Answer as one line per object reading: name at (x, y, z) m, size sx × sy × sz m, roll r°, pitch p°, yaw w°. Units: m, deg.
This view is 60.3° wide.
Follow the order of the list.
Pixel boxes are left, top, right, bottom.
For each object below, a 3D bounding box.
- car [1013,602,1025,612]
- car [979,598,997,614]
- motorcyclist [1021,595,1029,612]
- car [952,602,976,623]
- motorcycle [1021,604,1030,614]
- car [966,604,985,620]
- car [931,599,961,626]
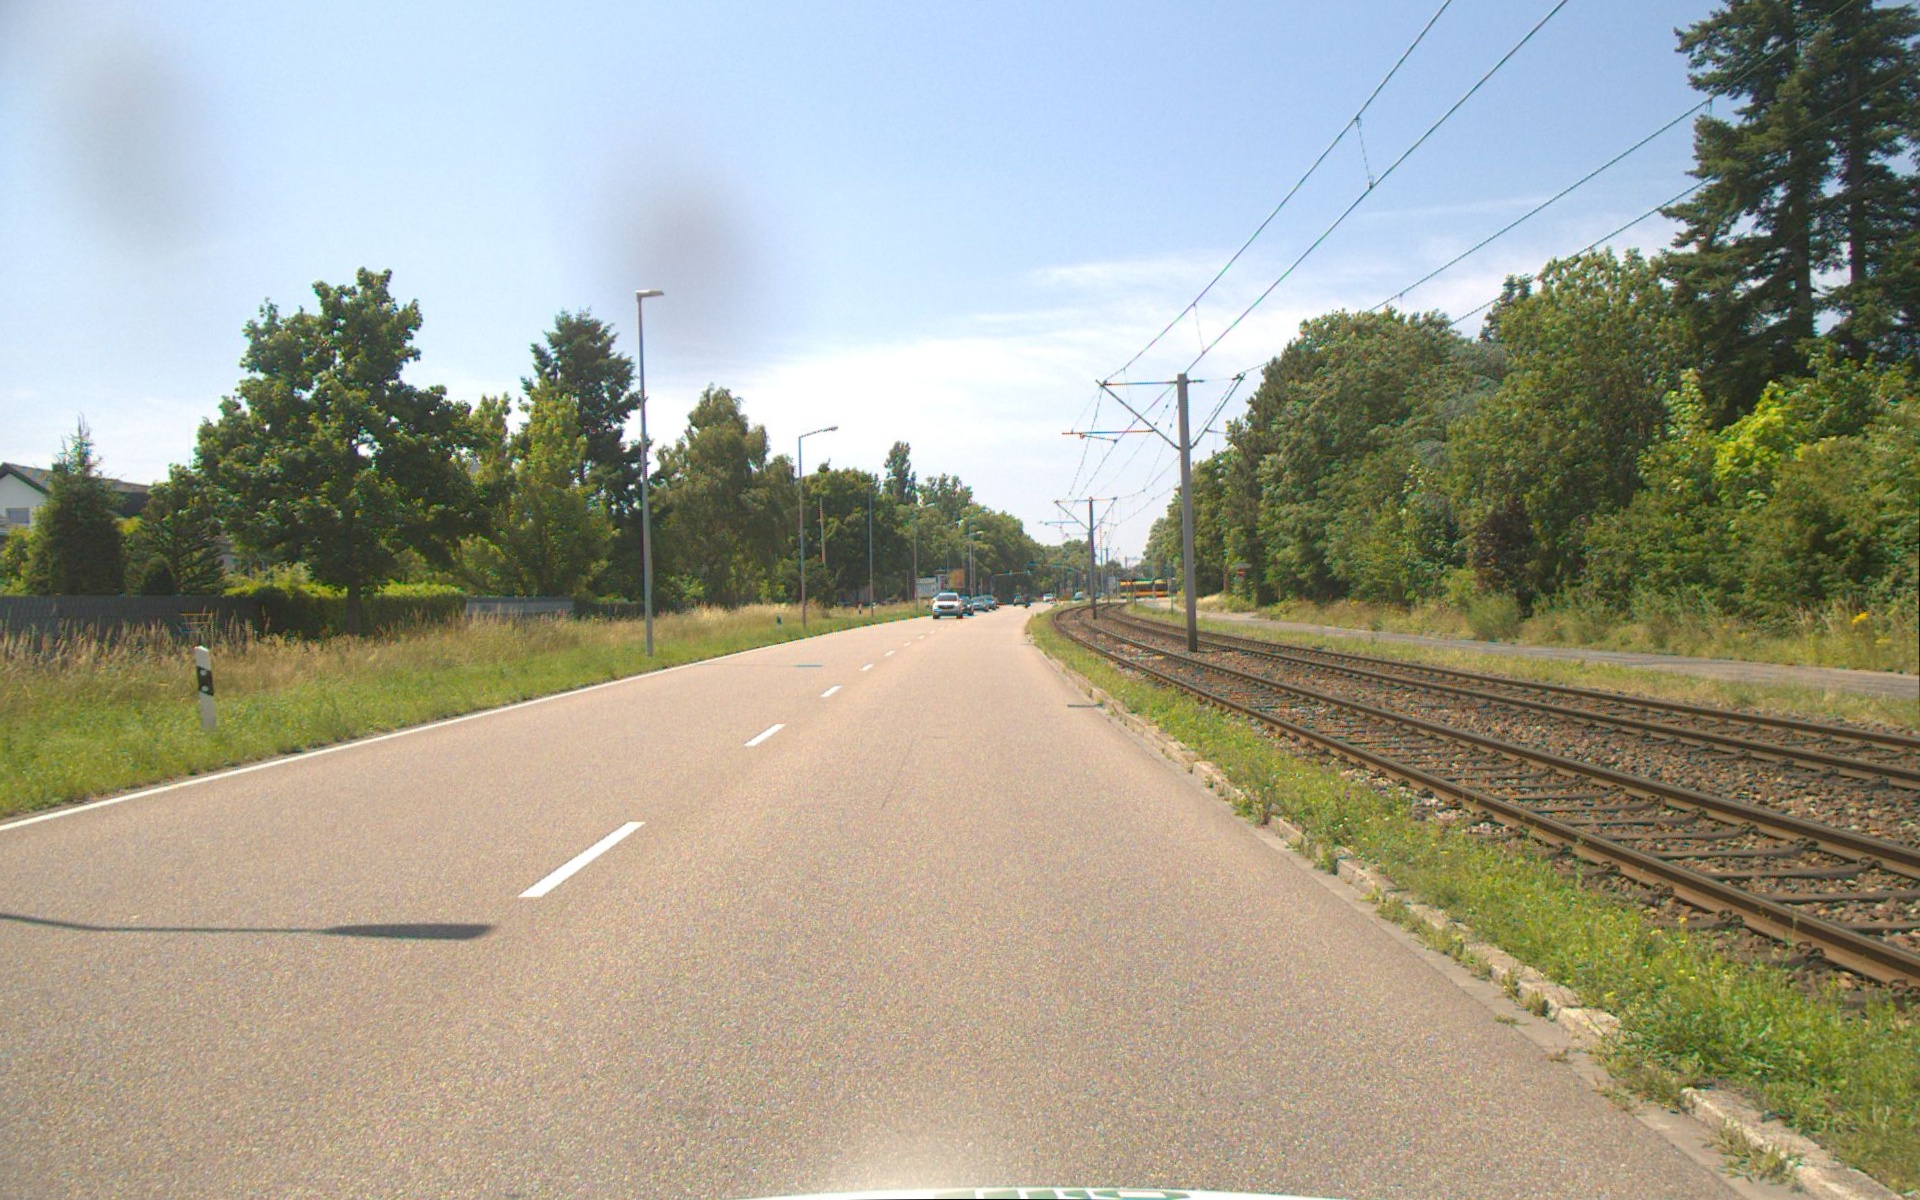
car at (9.135, 1.092, 256.340) m, size 1.593 × 1.419 × 4.366 m, roll -1°, pitch -1°, yaw 5°
car at (2.993, 0.651, 175.201) m, size 1.780 × 1.565 × 4.364 m, roll -1°, pitch -1°, yaw 2°
motorcyclist at (7.425, 0.398, 188.971) m, size 0.873 × 1.938 × 1.016 m, roll -1°, pitch -1°, yaw 3°
car at (0.316, 0.995, 131.326) m, size 1.780 × 1.555 × 4.364 m, roll -1°, pitch -1°, yaw 2°
motorcycle at (7.476, 0.986, 189.078) m, size 0.950 × 1.137 × 2.733 m, roll -1°, pitch -1°, yaw 3°
car at (1.495, 1.145, 159.629) m, size 1.780 × 1.519 × 4.364 m, roll -1°, pitch -1°, yaw 2°
car at (-0.960, 0.857, 114.800) m, size 1.895 × 1.827 × 4.712 m, roll -1°, pitch -1°, yaw 2°
